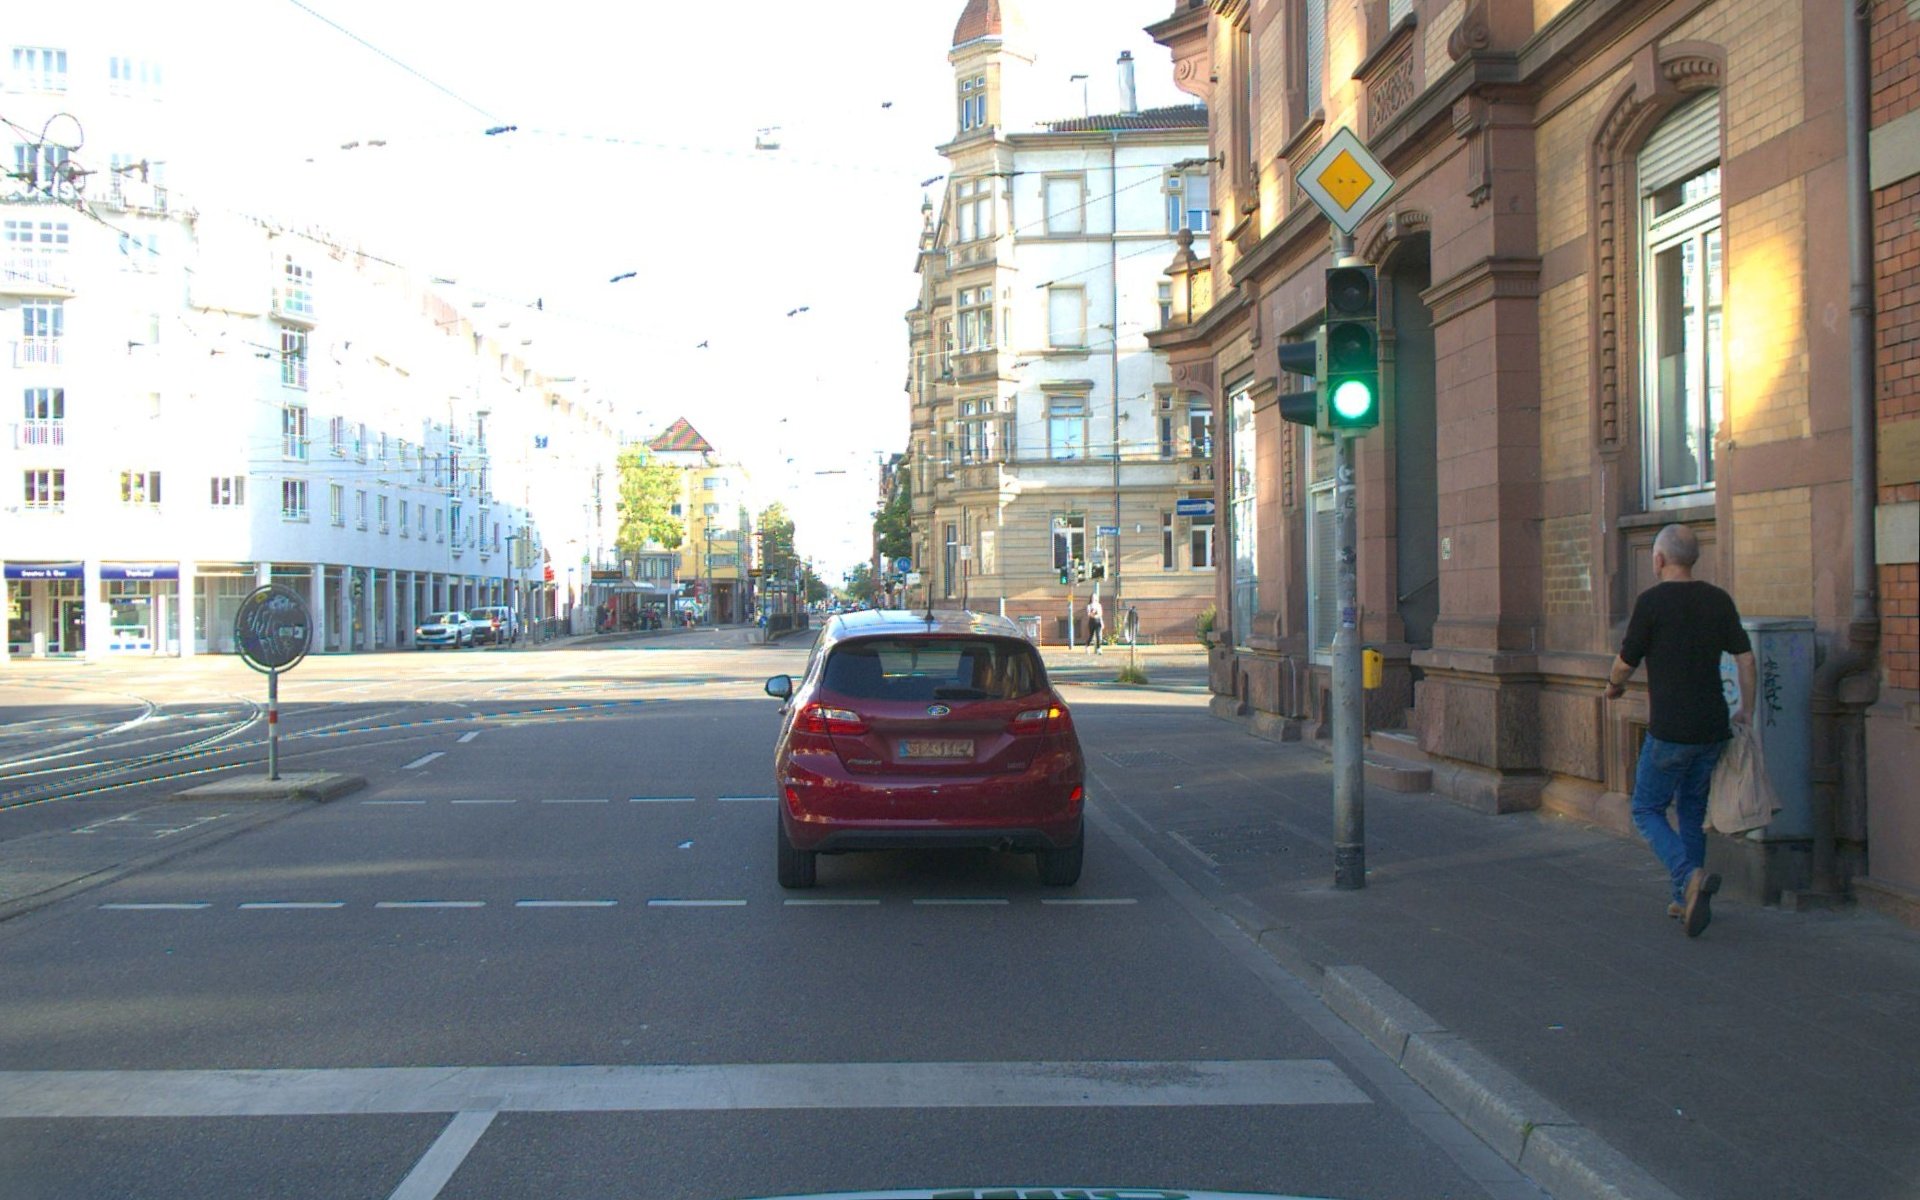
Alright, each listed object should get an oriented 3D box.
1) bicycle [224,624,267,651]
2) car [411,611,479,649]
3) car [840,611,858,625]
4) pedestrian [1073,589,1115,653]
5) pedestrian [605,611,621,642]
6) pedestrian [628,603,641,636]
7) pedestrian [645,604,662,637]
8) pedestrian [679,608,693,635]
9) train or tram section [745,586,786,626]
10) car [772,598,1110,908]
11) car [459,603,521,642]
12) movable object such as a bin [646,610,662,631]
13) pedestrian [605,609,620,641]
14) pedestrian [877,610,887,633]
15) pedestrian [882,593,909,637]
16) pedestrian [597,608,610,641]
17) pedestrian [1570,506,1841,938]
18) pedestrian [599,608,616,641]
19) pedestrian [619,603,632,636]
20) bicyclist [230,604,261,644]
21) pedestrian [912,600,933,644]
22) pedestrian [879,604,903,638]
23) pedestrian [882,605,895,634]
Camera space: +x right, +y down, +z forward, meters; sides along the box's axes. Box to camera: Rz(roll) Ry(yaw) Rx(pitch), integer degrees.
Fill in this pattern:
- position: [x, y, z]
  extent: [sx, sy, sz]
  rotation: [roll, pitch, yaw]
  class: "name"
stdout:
- position: [-27.149, 1.416, 62.854]
  extent: [0.824, 0.943, 2.262]
  rotation: [-1, 0, -5]
  class: "bicycle"
- position: [-23.119, 1.332, 74.390]
  extent: [1.954, 1.648, 4.506]
  rotation: [-1, 0, -4]
  class: "car"
- position: [-12.459, 2.008, 185.484]
  extent: [1.954, 1.475, 3.997]
  rotation: [0, 0, -4]
  class: "car"
- position: [3.896, 0.613, 48.167]
  extent: [1.003, 1.838, 1.081]
  rotation: [-1, 0, -7]
  class: "pedestrian"
- position: [-19.427, 1.474, 92.577]
  extent: [0.687, 1.721, 0.666]
  rotation: [0, -1, -28]
  class: "pedestrian"
- position: [-19.147, 1.169, 97.169]
  extent: [0.682, 1.938, 0.671]
  rotation: [0, -1, -7]
  class: "pedestrian"
- position: [-18.327, 1.214, 98.869]
  extent: [0.914, 1.938, 0.880]
  rotation: [0, -1, -7]
  class: "pedestrian"
- position: [-20.255, 1.588, 122.392]
  extent: [0.865, 1.938, 0.929]
  rotation: [0, -1, -20]
  class: "pedestrian"
- position: [-18.138, 0.631, 154.998]
  extent: [2.827, 3.551, 14.159]
  rotation: [-1, 0, -3]
  class: "train or tram section"
- position: [-0.251, 0.778, 10.030]
  extent: [1.659, 1.522, 3.576]
  rotation: [1, 0, -5]
  class: "car"
- position: [-23.717, 1.114, 83.714]
  extent: [1.954, 1.870, 5.342]
  rotation: [-1, 0, -4]
  class: "car"
- position: [-19.454, 1.301, 105.092]
  extent: [0.919, 1.309, 0.933]
  rotation: [0, -1, -6]
  class: "movable object such as a bin"
- position: [-19.079, 1.360, 90.831]
  extent: [0.687, 1.721, 0.666]
  rotation: [0, -1, -28]
  class: "pedestrian"
- position: [-6.284, 1.732, 133.461]
  extent: [0.700, 1.805, 0.772]
  rotation: [-3, 1, -7]
  class: "pedestrian"
- position: [-2.671, 0.616, 68.362]
  extent: [0.787, 1.751, 0.711]
  rotation: [-1, -2, -35]
  class: "pedestrian"
- position: [-18.635, 1.292, 86.449]
  extent: [0.587, 1.721, 0.613]
  rotation: [0, -1, -4]
  class: "pedestrian"
- position: [3.215, 0.501, 7.196]
  extent: [0.760, 1.753, 0.754]
  rotation: [-2, 0, -3]
  class: "pedestrian"
- position: [-18.854, 1.323, 88.469]
  extent: [0.751, 1.763, 0.518]
  rotation: [-1, -1, 38]
  class: "pedestrian"
- position: [-19.485, 1.148, 96.339]
  extent: [0.682, 1.938, 0.671]
  rotation: [0, -1, -7]
  class: "pedestrian"
- position: [-27.143, 0.902, 62.870]
  extent: [0.824, 1.493, 0.895]
  rotation: [-1, 0, -5]
  class: "bicyclist"
- position: [-1.622, 0.933, 70.730]
  extent: [0.785, 1.856, 0.797]
  rotation: [-2, 0, -4]
  class: "pedestrian"
- position: [-2.812, 0.857, 67.532]
  extent: [0.702, 1.355, 0.797]
  rotation: [-3, -2, 19]
  class: "pedestrian"
- position: [-4.310, 1.175, 99.771]
  extent: [0.747, 1.674, 0.831]
  rotation: [-2, 0, -4]
  class: "pedestrian"
